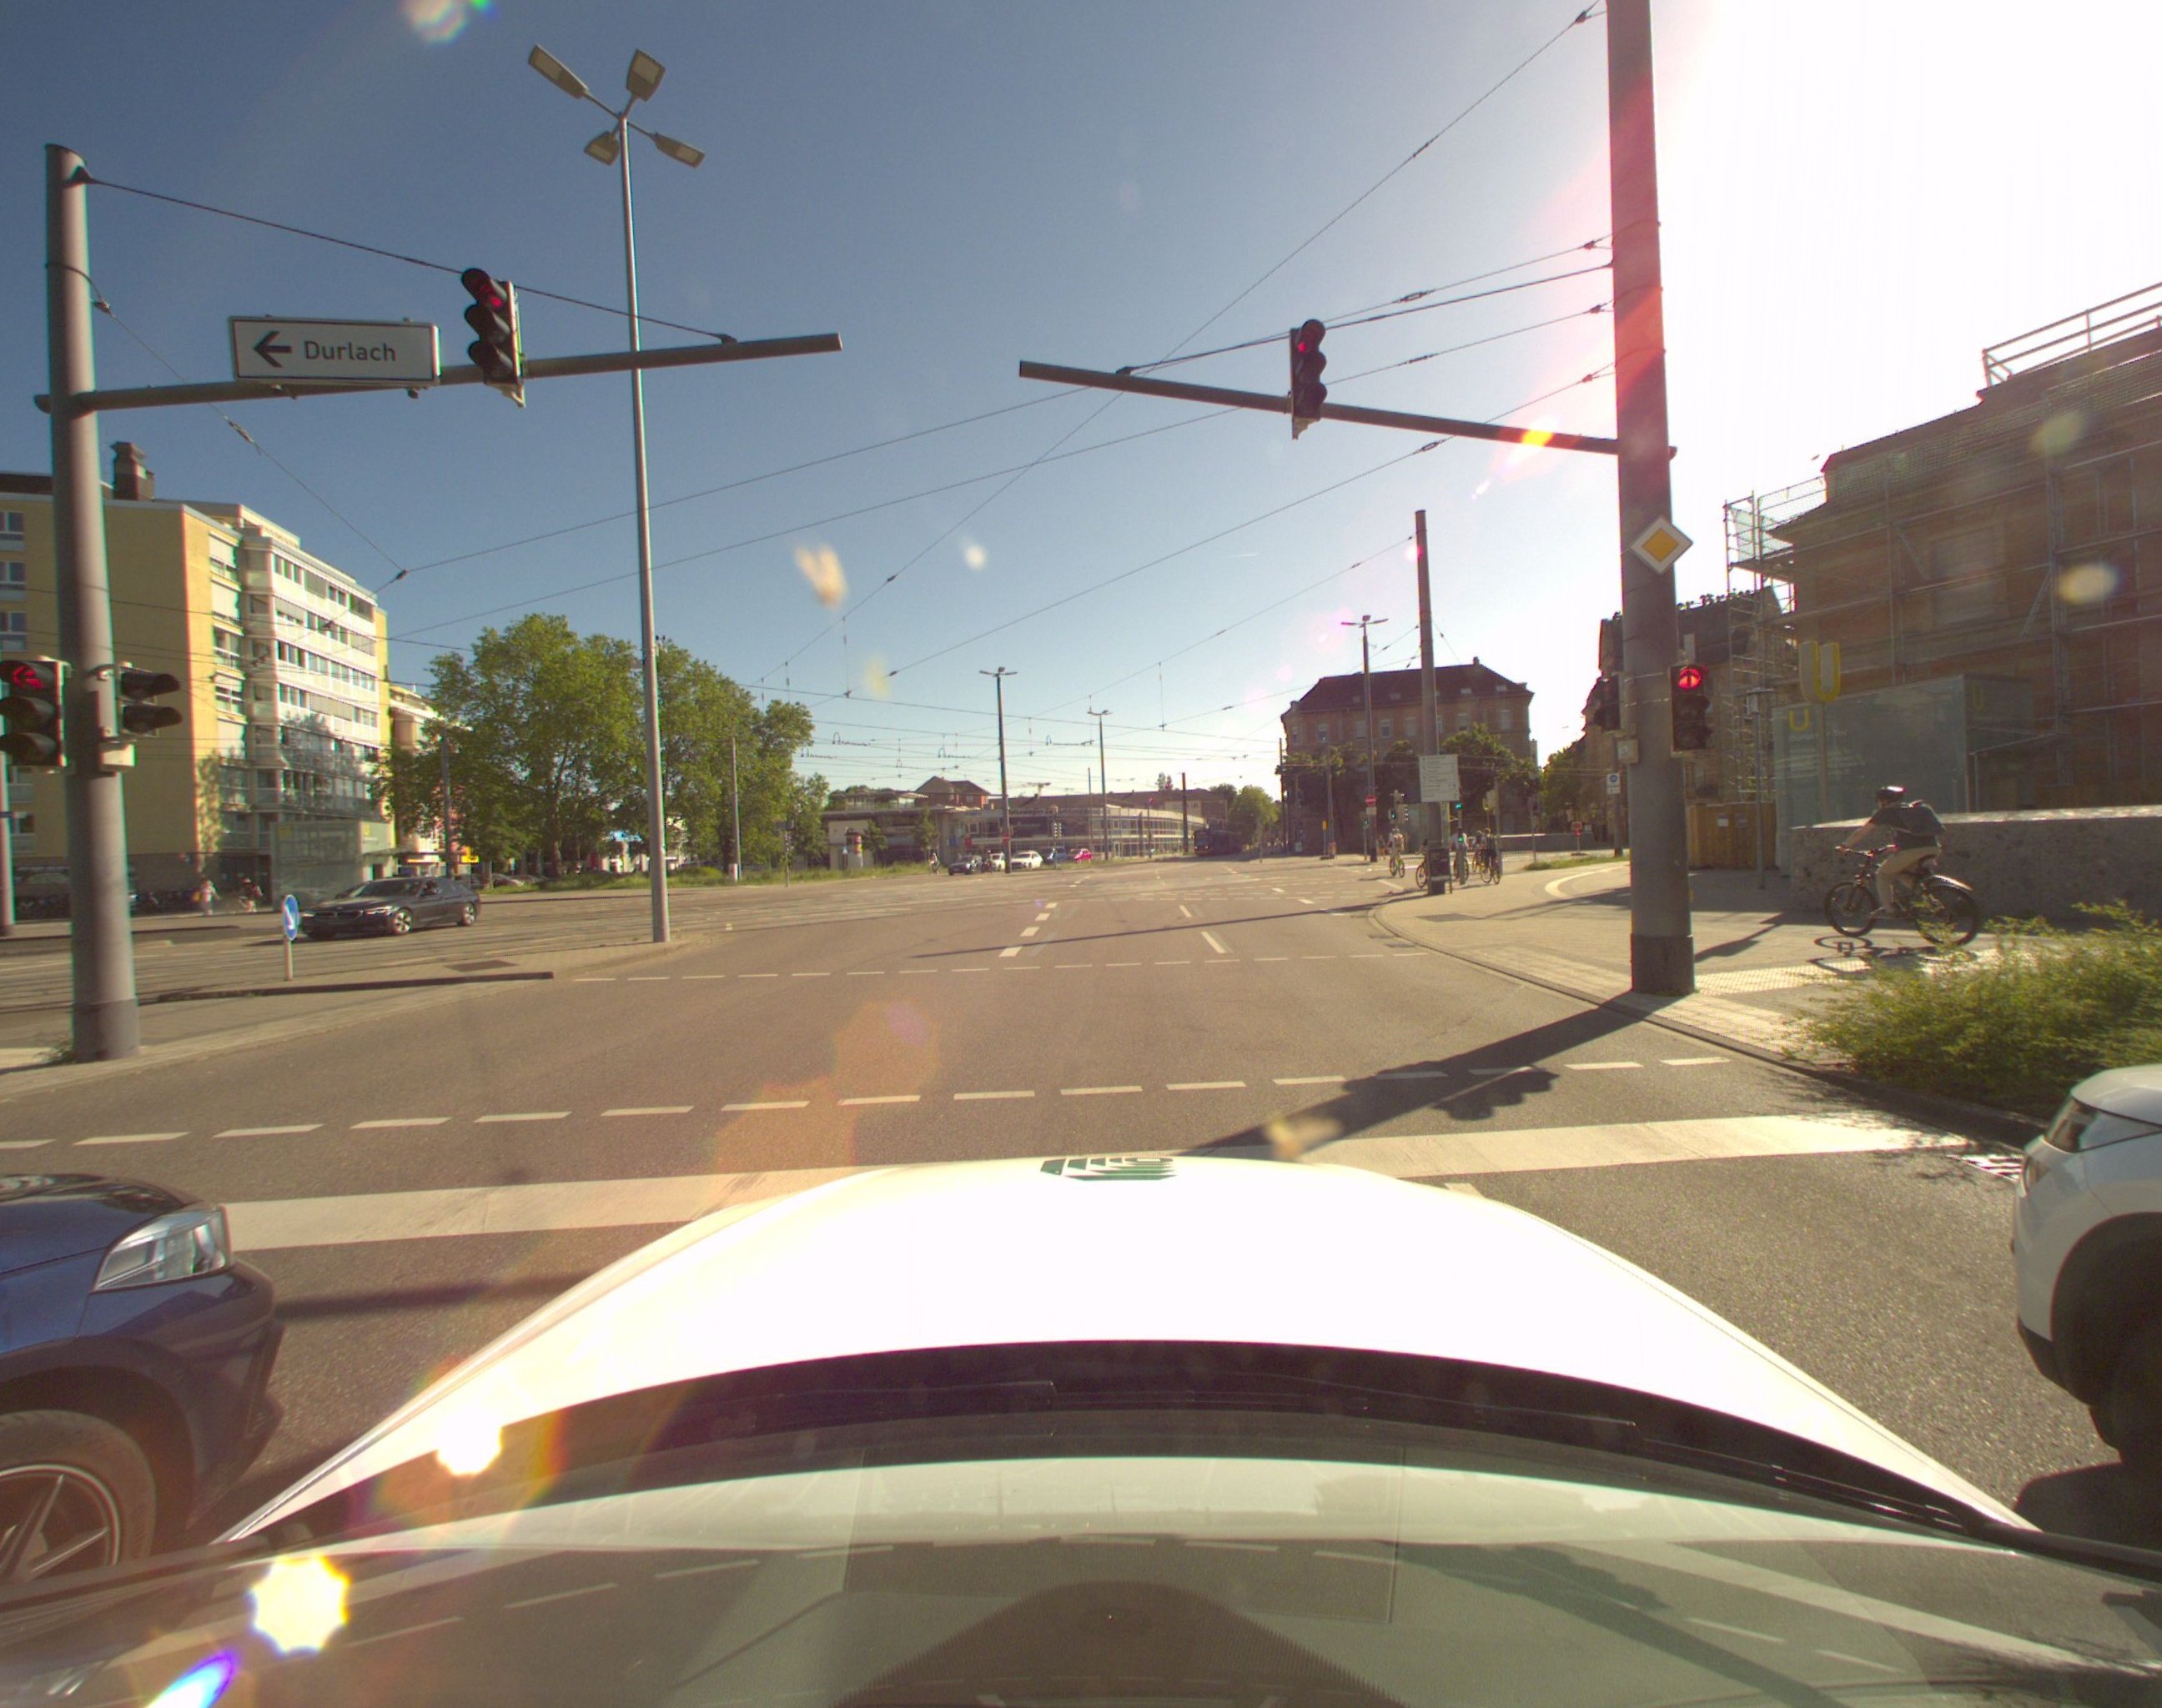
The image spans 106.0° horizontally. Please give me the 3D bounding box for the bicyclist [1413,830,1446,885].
[{"bbox_3d":[10.673,0.096,24.955,0.621,1.637,0.998,-4,0,10],"label":"bicyclist"}]

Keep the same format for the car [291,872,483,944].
[{"bbox_3d":[-17.790,1.287,21.207,1.861,1.501,4.547,-2,0,-13],"label":"car"}]

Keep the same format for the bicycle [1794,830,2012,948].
[{"bbox_3d":[9.587,0.368,9.620,0.687,1.218,1.836,-4,0,2],"label":"bicycle"}]

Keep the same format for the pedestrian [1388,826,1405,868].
[{"bbox_3d":[12.130,-0.262,31.302,0.543,1.562,0.863,-2,0,22],"label":"pedestrian"}]

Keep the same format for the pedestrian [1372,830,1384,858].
[{"bbox_3d":[21.327,-0.719,58.423,0.574,2.013,0.449,-3,0,-16],"label":"pedestrian"}]

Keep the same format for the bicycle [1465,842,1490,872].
[{"bbox_3d":[15.945,0.111,32.760,0.567,1.125,1.748,-4,0,17],"label":"bicycle"}]

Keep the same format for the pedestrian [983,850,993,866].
[{"bbox_3d":[-6.939,0.293,60.717,0.419,1.204,0.753,-2,0,19],"label":"pedestrian"}]

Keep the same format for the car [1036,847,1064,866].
[{"bbox_3d":[-2.998,0.234,79.212,1.613,1.692,3.702,-2,0,17],"label":"car"}]

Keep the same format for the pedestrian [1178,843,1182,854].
[{"bbox_3d":[16.300,-0.906,133.993,0.537,1.688,0.634,-2,0,23],"label":"pedestrian"}]

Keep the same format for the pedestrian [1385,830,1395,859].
[{"bbox_3d":[21.680,-0.692,57.146,0.461,2.013,0.449,-3,0,-16],"label":"pedestrian"}]

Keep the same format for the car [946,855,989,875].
[{"bbox_3d":[-8.503,0.780,61.239,1.689,1.354,3.719,-2,0,19],"label":"car"}]

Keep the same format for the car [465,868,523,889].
[{"bbox_3d":[-51.307,2.111,71.253,3.742,1.662,1.585,-2,0,-18],"label":"car"}]

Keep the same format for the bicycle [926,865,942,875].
[{"bbox_3d":[-11.364,1.224,63.027,0.419,0.718,1.483,-2,0,23],"label":"bicycle"}]

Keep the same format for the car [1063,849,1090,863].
[{"bbox_3d":[-0.446,0.241,86.283,1.613,1.364,3.703,-2,0,18],"label":"car"}]

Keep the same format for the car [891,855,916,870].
[{"bbox_3d":[-21.877,1.068,100.589,1.958,1.706,4.085,-2,0,2],"label":"car"}]

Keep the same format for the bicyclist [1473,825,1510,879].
[{"bbox_3d":[12.585,-0.057,24.983,0.681,1.598,0.980,-3,0,11],"label":"bicyclist"}]

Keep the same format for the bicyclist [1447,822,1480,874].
[{"bbox_3d":[13.582,-0.215,28.913,0.742,1.778,0.926,-3,0,9],"label":"bicyclist"}]

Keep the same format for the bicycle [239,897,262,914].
[{"bbox_3d":[-41.799,2.580,41.011,0.462,0.780,1.789,-2,0,-35],"label":"bicycle"}]

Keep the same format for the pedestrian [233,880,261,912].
[{"bbox_3d":[-42.073,2.107,41.070,0.769,1.560,0.610,-2,0,-25],"label":"pedestrian"}]

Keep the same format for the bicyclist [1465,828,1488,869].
[{"bbox_3d":[15.954,-0.226,32.859,0.567,1.568,0.951,-4,0,17],"label":"bicyclist"}]

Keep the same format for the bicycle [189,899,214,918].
[{"bbox_3d":[-43.338,2.675,40.144,0.489,0.812,1.595,-2,0,-35],"label":"bicycle"}]

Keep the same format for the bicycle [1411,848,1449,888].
[{"bbox_3d":[10.705,0.412,25.046,0.621,1.114,1.856,-4,1,10],"label":"bicycle"}]

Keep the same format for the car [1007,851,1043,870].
[{"bbox_3d":[-4.478,0.507,65.219,1.613,1.382,3.754,-2,0,17],"label":"car"}]

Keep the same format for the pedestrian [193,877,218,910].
[{"bbox_3d":[-43.310,1.931,40.296,0.719,1.560,0.551,-2,0,-36],"label":"pedestrian"}]

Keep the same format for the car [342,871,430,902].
[{"bbox_3d":[-42.770,1.990,50.201,3.742,1.662,1.585,-2,0,-18],"label":"car"}]

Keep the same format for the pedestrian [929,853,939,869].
[{"bbox_3d":[-11.358,0.569,63.100,0.419,1.204,0.684,-2,0,23],"label":"pedestrian"}]

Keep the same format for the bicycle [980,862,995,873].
[{"bbox_3d":[-6.978,1.000,60.559,0.419,0.718,1.642,-2,0,19],"label":"bicycle"}]

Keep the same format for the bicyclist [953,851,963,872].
[{"bbox_3d":[-9.841,0.592,65.253,0.564,1.713,0.651,-2,0,14],"label":"bicyclist"}]

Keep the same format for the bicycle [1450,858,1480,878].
[{"bbox_3d":[13.608,0.480,28.874,0.534,0.655,1.471,-3,0,9],"label":"bicycle"}]

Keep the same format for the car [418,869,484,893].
[{"bbox_3d":[-49.733,2.084,64.329,3.742,1.662,1.585,-2,0,-18],"label":"car"}]

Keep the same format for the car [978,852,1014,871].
[{"bbox_3d":[-6.983,0.564,67.162,1.613,1.424,3.702,-2,0,17],"label":"car"}]

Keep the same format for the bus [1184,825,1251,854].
[{"bbox_3d":[19.567,-1.820,114.099,3.803,3.607,24.999,-1,0,22],"label":"bus"}]

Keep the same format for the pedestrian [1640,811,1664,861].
[{"bbox_3d":[22.178,-0.700,31.646,0.692,1.881,0.725,-2,0,34],"label":"pedestrian"}]

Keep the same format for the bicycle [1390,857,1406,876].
[{"bbox_3d":[12.195,0.483,31.299,0.532,0.655,1.735,-3,0,21],"label":"bicycle"}]

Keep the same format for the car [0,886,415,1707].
[{"bbox_3d":[-2.670,0.816,0.119,1.704,1.445,4.034,-1,0,2],"label":"car"}]

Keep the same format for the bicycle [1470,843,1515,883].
[{"bbox_3d":[12.578,0.256,24.925,0.681,1.163,1.889,-3,0,11],"label":"bicycle"}]

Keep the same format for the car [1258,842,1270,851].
[{"bbox_3d":[33.590,-1.443,149.548,1.686,1.503,4.284,-2,0,17],"label":"car"}]

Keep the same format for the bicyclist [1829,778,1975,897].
[{"bbox_3d":[9.580,-0.184,9.546,0.717,1.279,0.908,-4,0,1],"label":"bicyclist"}]
